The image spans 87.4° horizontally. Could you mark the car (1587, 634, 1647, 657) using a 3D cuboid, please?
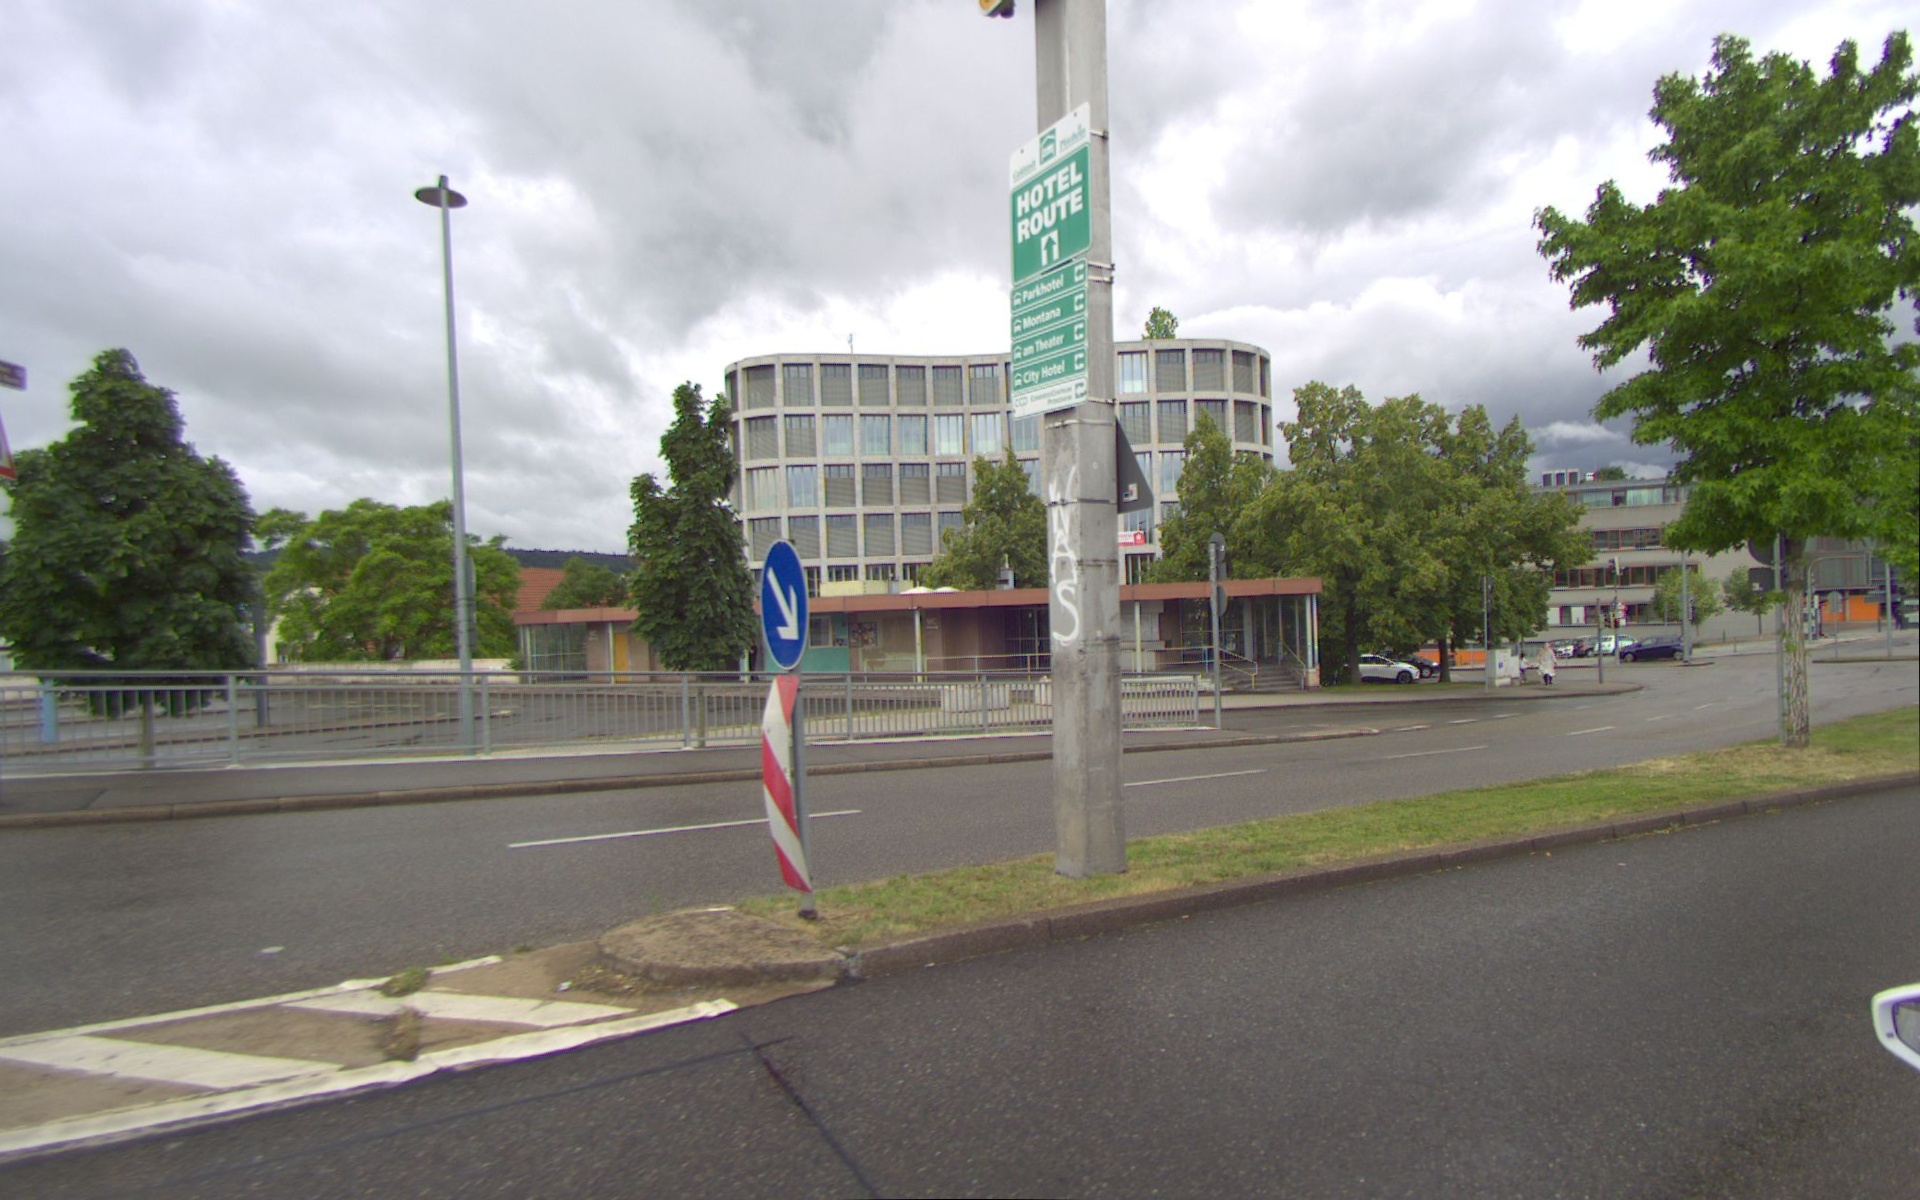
[{"bbox_3d":[47.881,3.312,73.237,3.522,1.515,1.629,-2,-2,-15],"label":"car"}]

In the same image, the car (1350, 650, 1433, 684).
[{"bbox_3d":[22.887,3.548,53.411,3.761,1.588,1.729,-3,-1,13],"label":"car"}]

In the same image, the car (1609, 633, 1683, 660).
[{"bbox_3d":[43.890,3.004,64.307,3.624,1.457,1.819,-7,-4,44],"label":"car"}]

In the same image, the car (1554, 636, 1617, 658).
[{"bbox_3d":[48.907,3.653,78.607,3.712,1.515,1.767,-3,-2,9],"label":"car"}]

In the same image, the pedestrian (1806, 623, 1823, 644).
[{"bbox_3d":[60.735,2.374,71.405,0.713,1.410,0.675,-2,-1,-32],"label":"pedestrian"}]

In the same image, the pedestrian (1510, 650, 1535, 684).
[{"bbox_3d":[22.490,2.672,40.136,0.626,1.309,0.646,2,-5,-42],"label":"pedestrian"}]

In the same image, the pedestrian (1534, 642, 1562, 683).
[{"bbox_3d":[23.046,2.447,39.373,0.621,1.590,0.651,0,-4,-18],"label":"pedestrian"}]

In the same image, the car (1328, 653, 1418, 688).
[{"bbox_3d":[20.953,3.579,51.088,3.974,1.528,1.729,-3,-1,15],"label":"car"}]

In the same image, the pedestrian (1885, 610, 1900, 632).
[{"bbox_3d":[71.680,1.619,77.212,0.752,1.706,0.473,-2,-2,-23],"label":"pedestrian"}]
